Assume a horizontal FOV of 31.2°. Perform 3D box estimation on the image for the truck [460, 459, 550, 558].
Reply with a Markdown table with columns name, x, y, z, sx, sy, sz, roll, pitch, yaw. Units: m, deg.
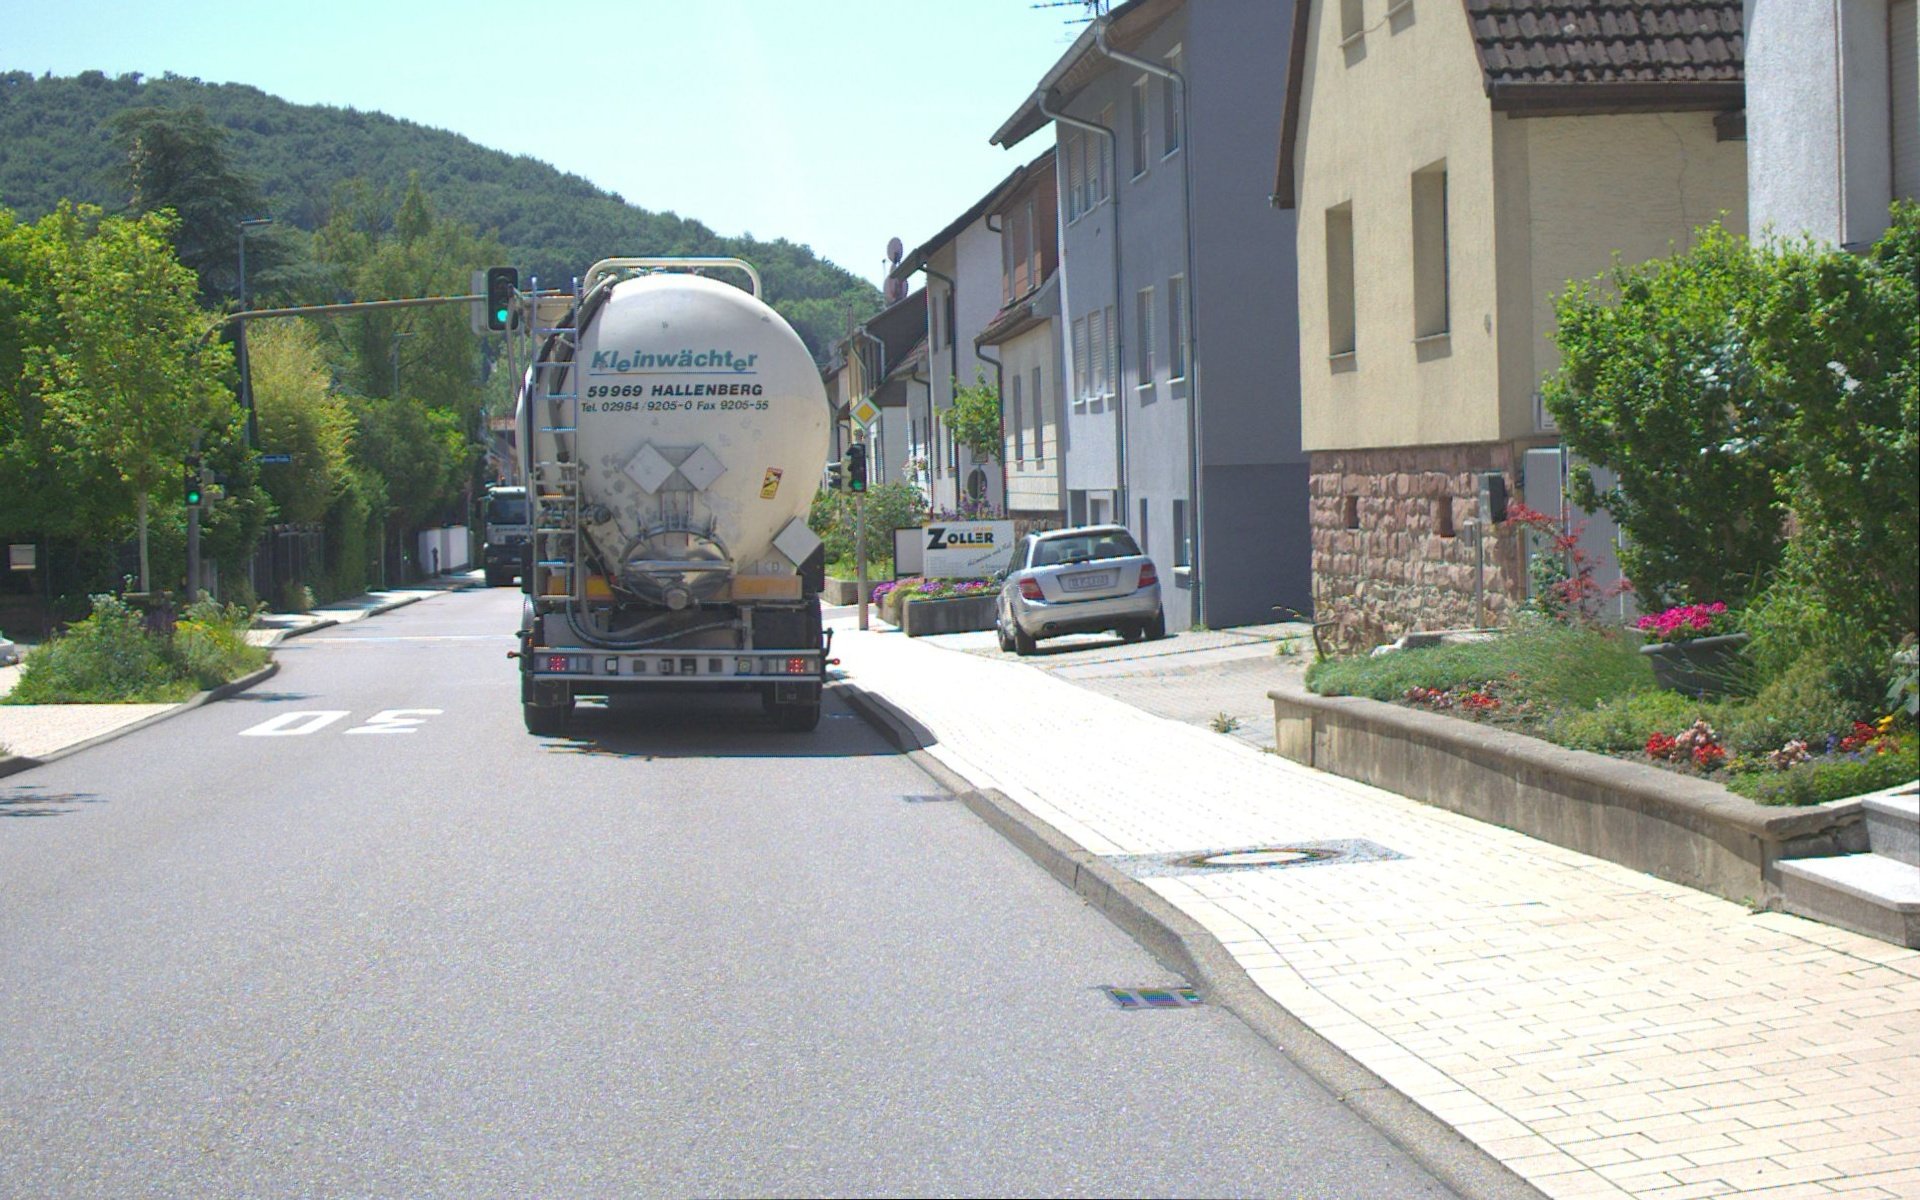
| name | x | y | z | sx | sy | sz | roll | pitch | yaw |
| --- | --- | --- | --- | --- | --- | --- | --- | --- | --- |
| truck | -16.027 | -3.211 | 121.583 | 2.728 | 3.360 | 8.636 | 0 | 1 | -5 |

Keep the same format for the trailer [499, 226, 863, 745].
| name | x | y | z | sx | sy | sz | roll | pitch | yaw |
| --- | --- | --- | --- | --- | --- | --- | --- | --- | --- |
| trailer | -2.719 | -0.979 | 31.675 | 2.795 | 3.987 | 10.326 | 0 | 1 | -6 |

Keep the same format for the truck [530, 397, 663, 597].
| name | x | y | z | sx | sy | sz | roll | pitch | yaw |
| --- | --- | --- | --- | --- | --- | --- | --- | --- | --- |
| truck | -9.322 | -2.446 | 87.068 | 2.846 | 4.663 | 11.342 | 1 | 0 | -8 |

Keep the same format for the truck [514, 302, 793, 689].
| name | x | y | z | sx | sy | sz | roll | pitch | yaw |
| --- | --- | --- | --- | --- | --- | --- | --- | --- | --- |
| truck | -3.460 | -1.114 | 38.050 | 2.808 | 3.923 | 6.100 | 0 | 1 | -6 |

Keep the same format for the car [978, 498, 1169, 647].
| name | x | y | z | sx | sy | sz | roll | pitch | yaw |
| --- | --- | --- | --- | --- | --- | --- | --- | --- | --- |
| car | 1.312 | -0.360 | 41.588 | 1.791 | 1.536 | 4.520 | -5 | 1 | -3 |
